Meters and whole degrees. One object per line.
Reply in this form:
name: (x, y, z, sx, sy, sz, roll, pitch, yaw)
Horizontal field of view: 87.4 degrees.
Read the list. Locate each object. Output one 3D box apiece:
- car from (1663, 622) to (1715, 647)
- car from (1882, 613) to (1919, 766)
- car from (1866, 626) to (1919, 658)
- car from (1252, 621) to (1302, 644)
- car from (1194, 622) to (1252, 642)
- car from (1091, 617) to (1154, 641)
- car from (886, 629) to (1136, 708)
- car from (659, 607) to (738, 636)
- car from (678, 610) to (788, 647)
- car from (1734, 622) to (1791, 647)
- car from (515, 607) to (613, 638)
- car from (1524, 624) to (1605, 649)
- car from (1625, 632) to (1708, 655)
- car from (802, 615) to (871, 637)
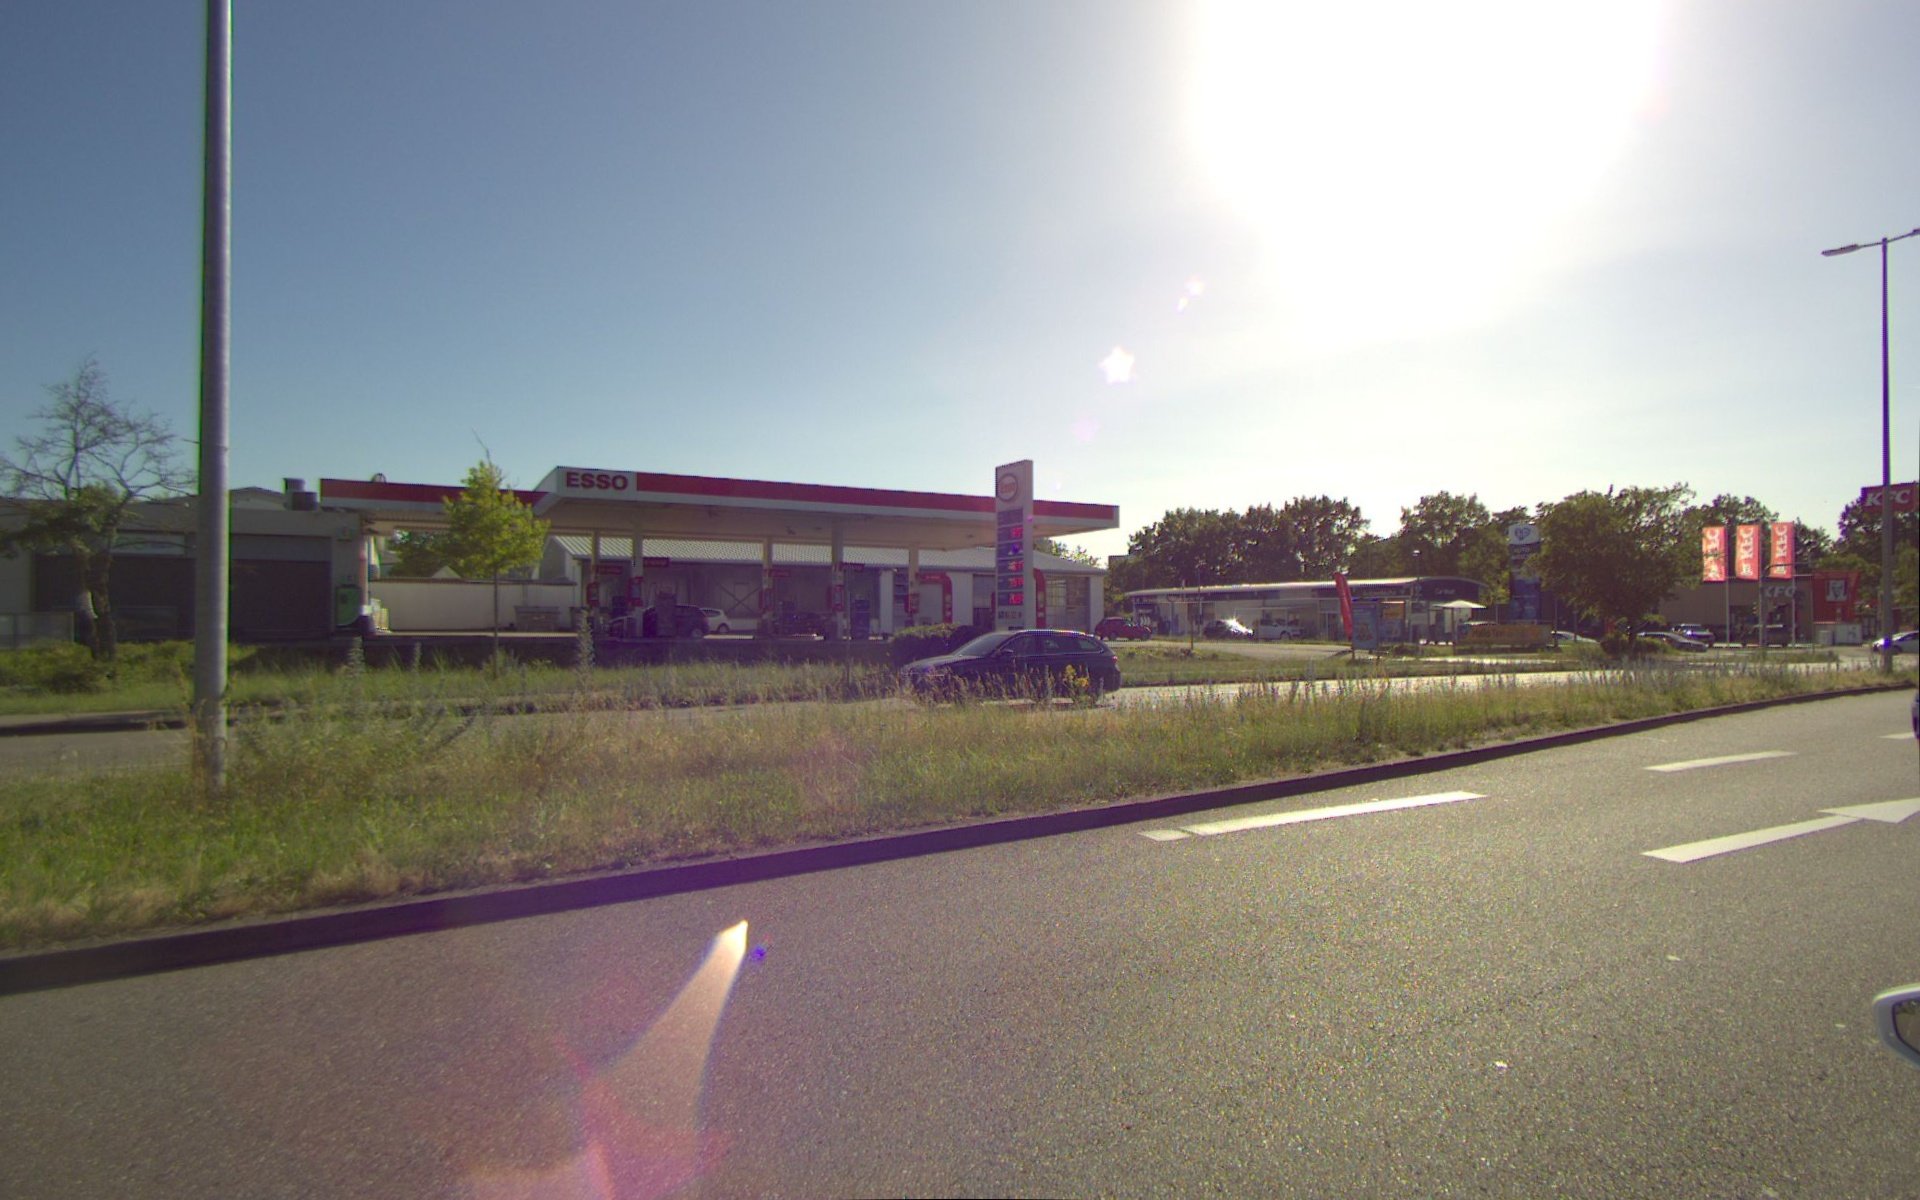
car: (57.006, 2.688, 78.617, 1.896, 1.763, 4.099, 1, 0, 14)
car: (11.732, 0.950, 10.526, 4.543, 1.506, 1.803, 2, 0, -31)
car: (58.545, 2.600, 61.727, 3.698, 1.837, 2.000, 1, 0, 21)
car: (21.865, 2.218, 69.371, 1.516, 1.461, 3.123, 2, 0, -31)
car: (19.111, 2.312, 73.074, 1.736, 1.268, 4.020, 2, 0, -31)
car: (10.795, 1.927, 66.614, 3.948, 1.491, 1.521, 2, 0, -24)
car: (1.029, 1.283, 19.113, 4.627, 1.351, 1.638, 2, -4, -31)
car: (-14.375, 1.194, 55.269, 3.812, 1.509, 1.984, 2, 0, -30)
car: (-9.182, 1.127, 40.597, 3.953, 1.423, 1.984, 1, -1, -31)
car: (61.786, 2.645, 77.423, 1.896, 1.763, 4.099, 1, 0, 14)
car: (-20.584, 1.184, 52.185, 4.489, 1.486, 1.984, 2, 0, -30)
car: (43.069, 2.586, 71.685, 1.914, 1.600, 4.599, 2, 0, -31)
car: (45.882, 2.813, 65.310, 1.850, 1.268, 4.062, 2, 0, -31)
car: (-7.293, 1.561, 59.439, 3.688, 1.203, 1.667, 2, 0, -30)
